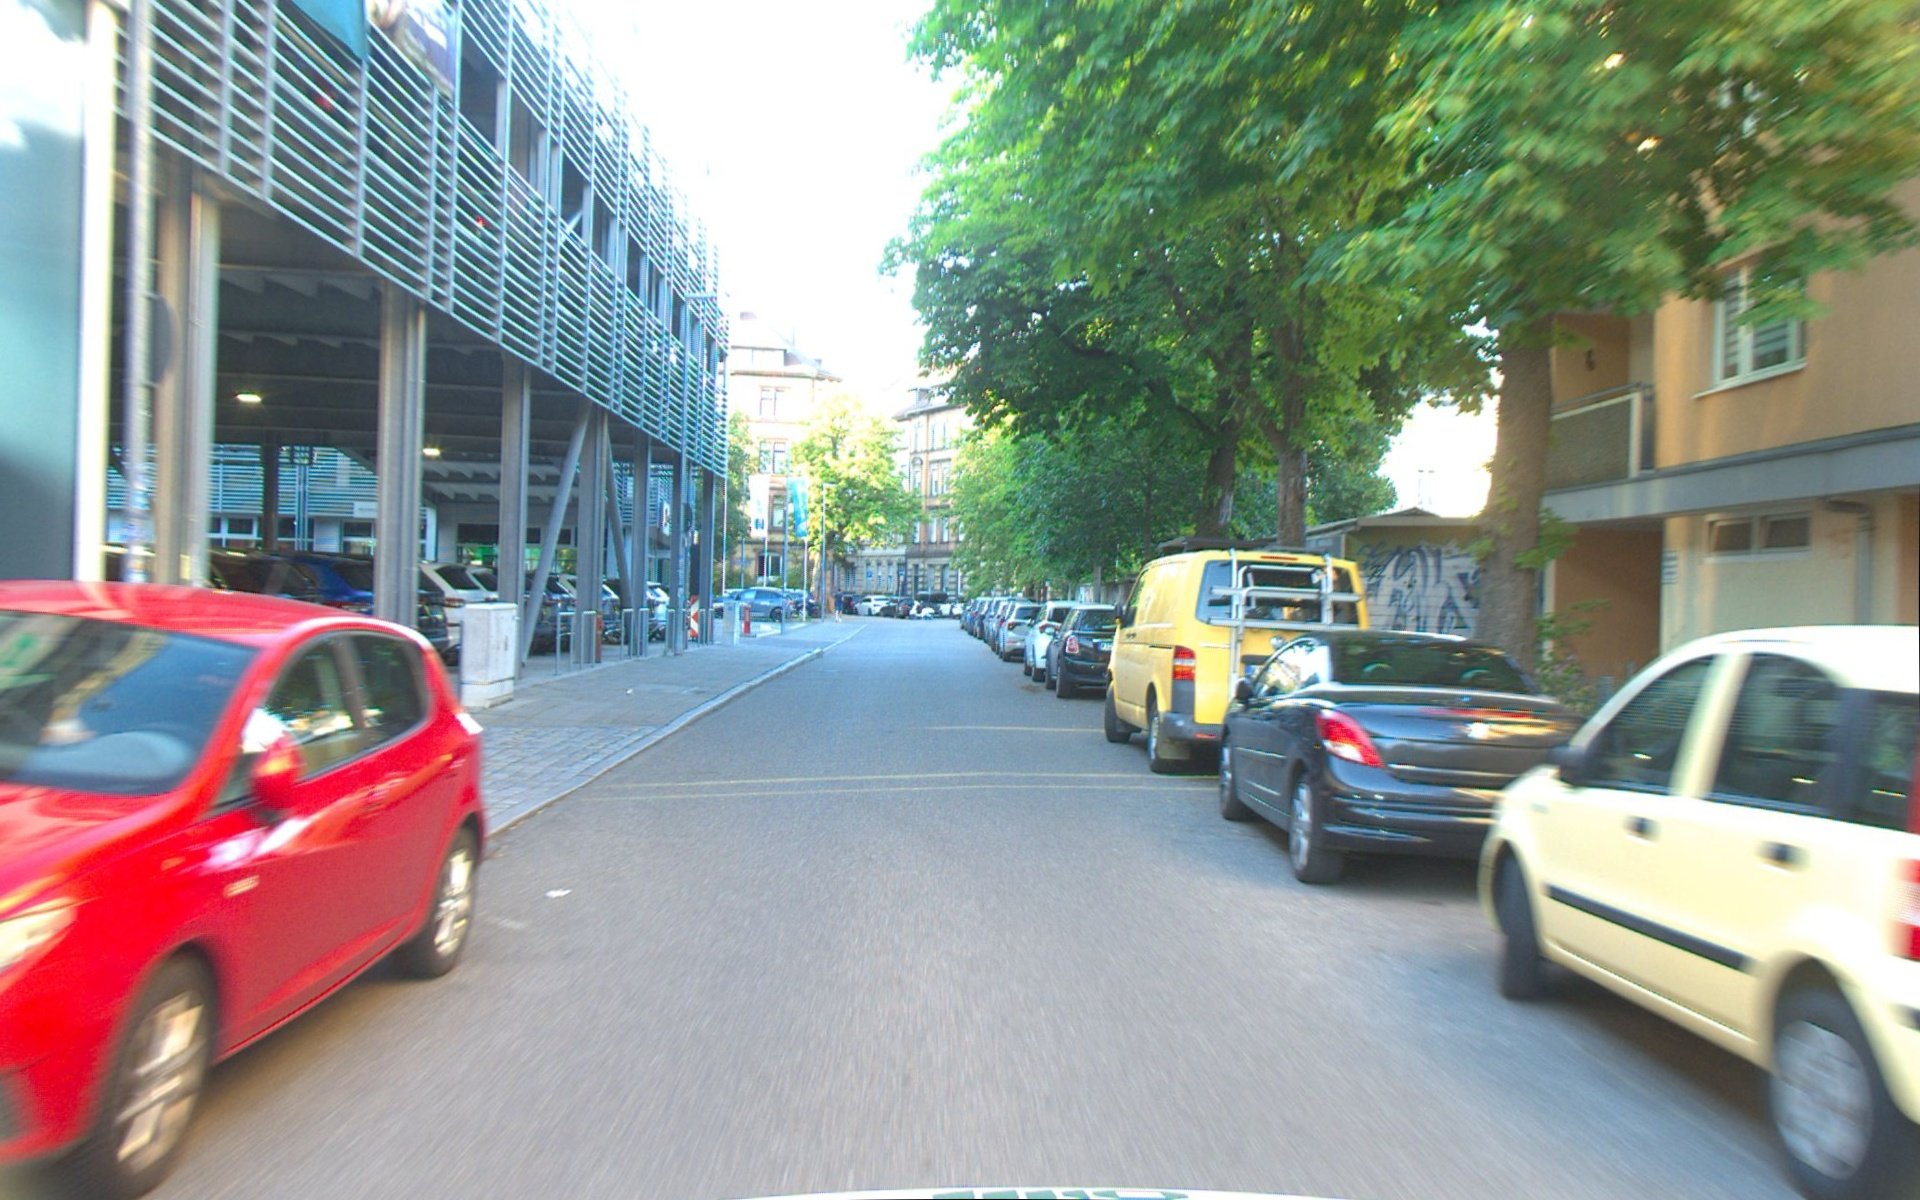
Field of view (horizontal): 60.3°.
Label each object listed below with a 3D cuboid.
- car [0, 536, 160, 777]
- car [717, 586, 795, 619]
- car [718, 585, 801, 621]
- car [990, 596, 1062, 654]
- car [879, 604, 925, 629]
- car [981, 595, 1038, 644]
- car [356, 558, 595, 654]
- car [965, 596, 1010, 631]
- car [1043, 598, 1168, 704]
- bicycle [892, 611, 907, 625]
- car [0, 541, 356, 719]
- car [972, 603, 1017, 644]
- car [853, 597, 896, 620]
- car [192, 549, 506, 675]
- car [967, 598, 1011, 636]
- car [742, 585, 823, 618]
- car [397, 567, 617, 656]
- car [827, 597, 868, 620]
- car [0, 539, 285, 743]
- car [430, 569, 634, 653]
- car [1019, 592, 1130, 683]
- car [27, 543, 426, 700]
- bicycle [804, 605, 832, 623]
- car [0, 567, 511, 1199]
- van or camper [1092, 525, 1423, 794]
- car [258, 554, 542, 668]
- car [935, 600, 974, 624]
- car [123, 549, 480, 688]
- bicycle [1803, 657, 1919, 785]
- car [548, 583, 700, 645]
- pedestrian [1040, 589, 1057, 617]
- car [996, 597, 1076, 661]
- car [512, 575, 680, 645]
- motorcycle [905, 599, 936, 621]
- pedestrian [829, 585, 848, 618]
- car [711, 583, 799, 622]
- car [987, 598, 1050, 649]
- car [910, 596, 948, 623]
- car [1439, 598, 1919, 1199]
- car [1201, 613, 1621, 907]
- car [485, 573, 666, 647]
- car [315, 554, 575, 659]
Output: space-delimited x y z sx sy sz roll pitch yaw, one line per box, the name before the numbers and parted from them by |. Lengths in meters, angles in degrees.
car | -8.601 0.348 12.715 3.960 1.713 1.860 1 1 -1
car | -10.716 0.127 87.188 3.967 1.501 1.918 3 1 -6
car | -10.057 0.142 83.026 3.986 1.646 1.764 1 1 -4
car | 1.831 0.664 46.903 1.724 1.480 4.391 1 1 -2
car | -3.861 1.064 110.268 1.634 1.456 3.959 2 1 -25
car | 1.695 0.669 57.849 1.724 1.632 3.872 1 0 -2
car | -9.250 0.095 31.814 4.019 1.713 1.860 1 1 -1
car | 1.218 0.612 74.378 1.662 1.502 3.556 1 0 -5
car | 2.230 0.753 26.102 1.531 1.475 3.452 1 1 -2
bicycle | -3.840 1.134 104.829 0.416 0.836 1.462 1 1 20
car | -8.710 0.275 17.440 3.953 1.713 1.860 1 1 -1
car | 1.335 0.901 65.195 1.564 1.502 3.772 1 0 -2
car | -5.970 0.579 114.626 1.632 1.456 4.137 2 1 -23
car | -9.027 0.159 24.679 3.943 1.713 1.860 1 1 -1
car | 1.187 0.688 69.753 1.661 1.502 4.116 1 0 -2
car | -10.592 0.096 98.672 4.738 1.762 1.917 2 1 -8
car | -9.339 0.216 34.310 4.019 1.713 1.860 1 1 -1
car | -8.087 0.627 118.871 1.634 1.456 3.865 2 1 -25
car | -8.599 0.313 15.086 4.081 1.713 1.860 1 1 -1
car | -9.365 0.217 36.453 3.981 1.713 1.860 1 1 -1
car | 2.116 0.662 31.563 1.687 1.546 4.024 1 1 -2
car | -8.730 0.237 19.947 3.953 1.713 1.860 1 1 -1
bicycle | -8.725 0.850 101.451 1.651 1.046 0.442 1 1 -26
car | -2.700 0.672 5.114 1.663 1.532 3.789 1 0 -2
van or camper | 2.617 0.447 15.931 2.023 2.132 5.088 1 1 -3
car | -9.134 0.163 27.208 4.000 1.713 1.860 1 1 -1
car | -0.387 0.852 115.330 1.654 1.552 2.745 2 0 -26
car | -8.853 0.227 22.485 4.064 1.713 1.860 1 1 -1
bicycle | 7.868 0.998 13.947 0.512 0.937 1.834 1 1 -2
car | -9.335 0.404 46.221 3.908 1.614 1.858 1 -2 -4
pedestrian | 5.875 0.216 109.978 0.829 1.835 0.771 1 1 -22
car | 1.882 0.702 42.015 1.724 1.467 4.004 1 1 -2
car | -9.538 0.234 43.587 3.996 1.713 1.860 1 1 -1
motorcycle | -2.548 0.664 106.930 1.897 1.364 0.575 1 1 -12
pedestrian | -6.700 0.082 91.449 0.725 1.835 1.114 1 1 -22
car | -9.857 0.105 79.772 4.048 1.646 1.912 3 1 -4
car | 1.835 0.730 52.842 1.724 1.467 3.873 1 1 -2
car | -2.229 0.677 118.823 1.654 1.813 2.991 2 0 -25
car | 2.953 0.790 5.546 1.577 1.537 3.476 1 0 -2
car | 2.639 0.848 10.604 1.574 1.406 4.000 1 1 0
car | -9.452 0.233 40.906 4.004 1.713 1.860 1 1 -1
car | -9.091 0.096 29.441 4.019 1.713 1.860 1 1 -1
